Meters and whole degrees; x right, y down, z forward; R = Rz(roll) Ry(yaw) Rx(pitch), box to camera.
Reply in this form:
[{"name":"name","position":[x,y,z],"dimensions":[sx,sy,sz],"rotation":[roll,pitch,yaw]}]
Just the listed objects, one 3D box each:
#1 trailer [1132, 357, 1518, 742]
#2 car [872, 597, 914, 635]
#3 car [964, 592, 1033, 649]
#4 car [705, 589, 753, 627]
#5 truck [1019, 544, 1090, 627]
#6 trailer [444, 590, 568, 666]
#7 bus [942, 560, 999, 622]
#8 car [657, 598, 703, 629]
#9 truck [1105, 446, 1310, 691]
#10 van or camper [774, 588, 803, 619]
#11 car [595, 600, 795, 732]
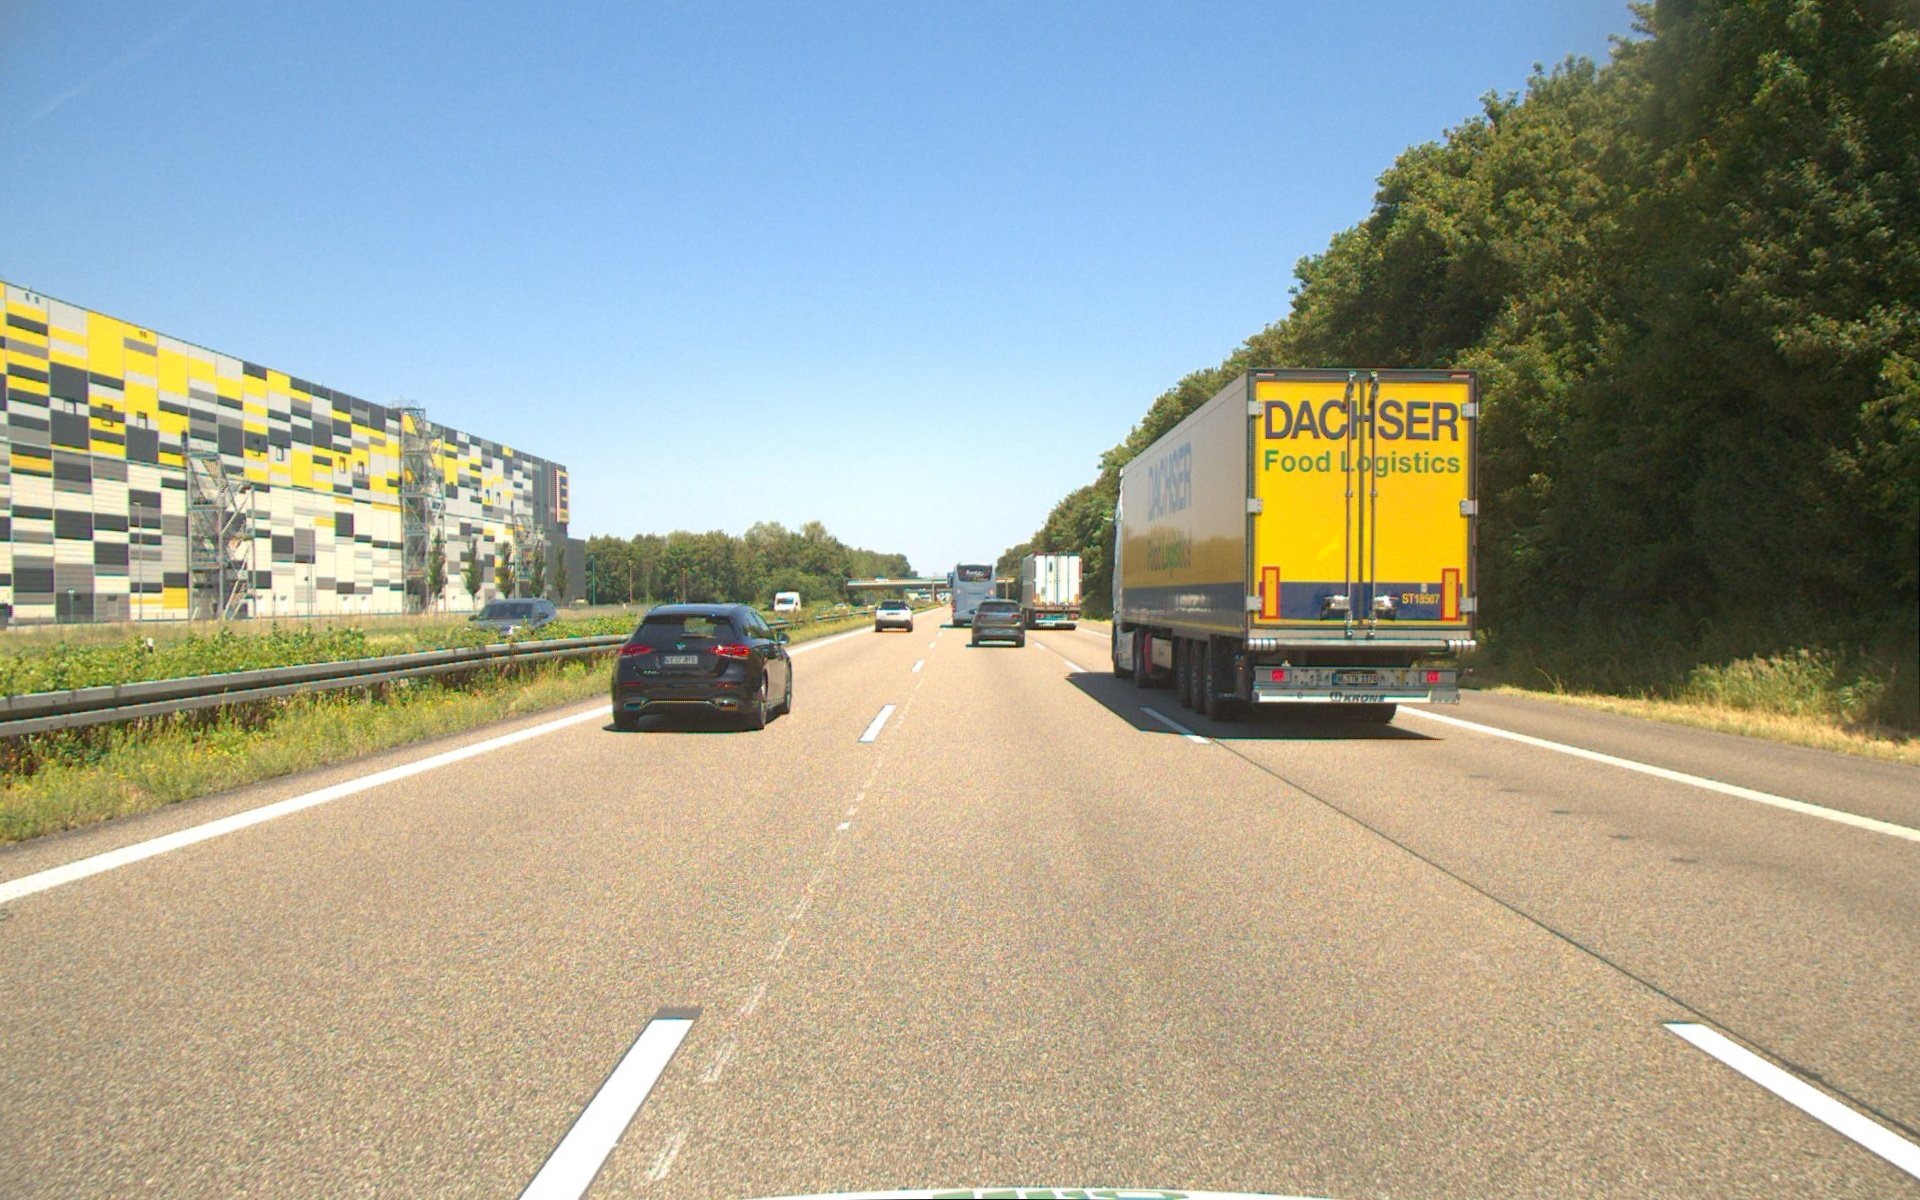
[{"name":"trailer","position":[4.438,-0.562,23.175],"dimensions":[2.777,4.023,11.683],"rotation":[0,0,0]},{"name":"car","position":[-3.244,0.752,80.520],"dimensions":[1.953,1.758,4.130],"rotation":[0,0,-1]},{"name":"car","position":[1.244,0.660,56.033],"dimensions":[2.171,1.821,5.393],"rotation":[-1,0,0]},{"name":"car","position":[-11.759,0.406,84.372],"dimensions":[1.873,1.820,4.481],"rotation":[-1,0,-1]},{"name":"truck","position":[5.069,-0.761,90.468],"dimensions":[3.352,4.198,9.565],"rotation":[-1,0,1]},{"name":"trailer","position":[-11.863,0.690,43.587],"dimensions":[1.905,1.821,5.236],"rotation":[-1,0,-1]},{"name":"bus","position":[0.514,-0.511,95.859],"dimensions":[3.000,3.385,8.272],"rotation":[-1,0,-1]},{"name":"car","position":[-16.150,0.761,95.559],"dimensions":[1.814,1.640,4.834],"rotation":[-3,0,-1]},{"name":"truck","position":[4.439,-0.543,31.009],"dimensions":[2.756,4.076,6.644],"rotation":[-1,0,0]},{"name":"van or camper","position":[-16.117,0.334,155.826],"dimensions":[2.014,2.828,6.965],"rotation":[-1,0,0]},{"name":"car","position":[-3.144,0.737,20.403],"dimensions":[1.755,1.436,4.053],"rotation":[1,0,1]}]
